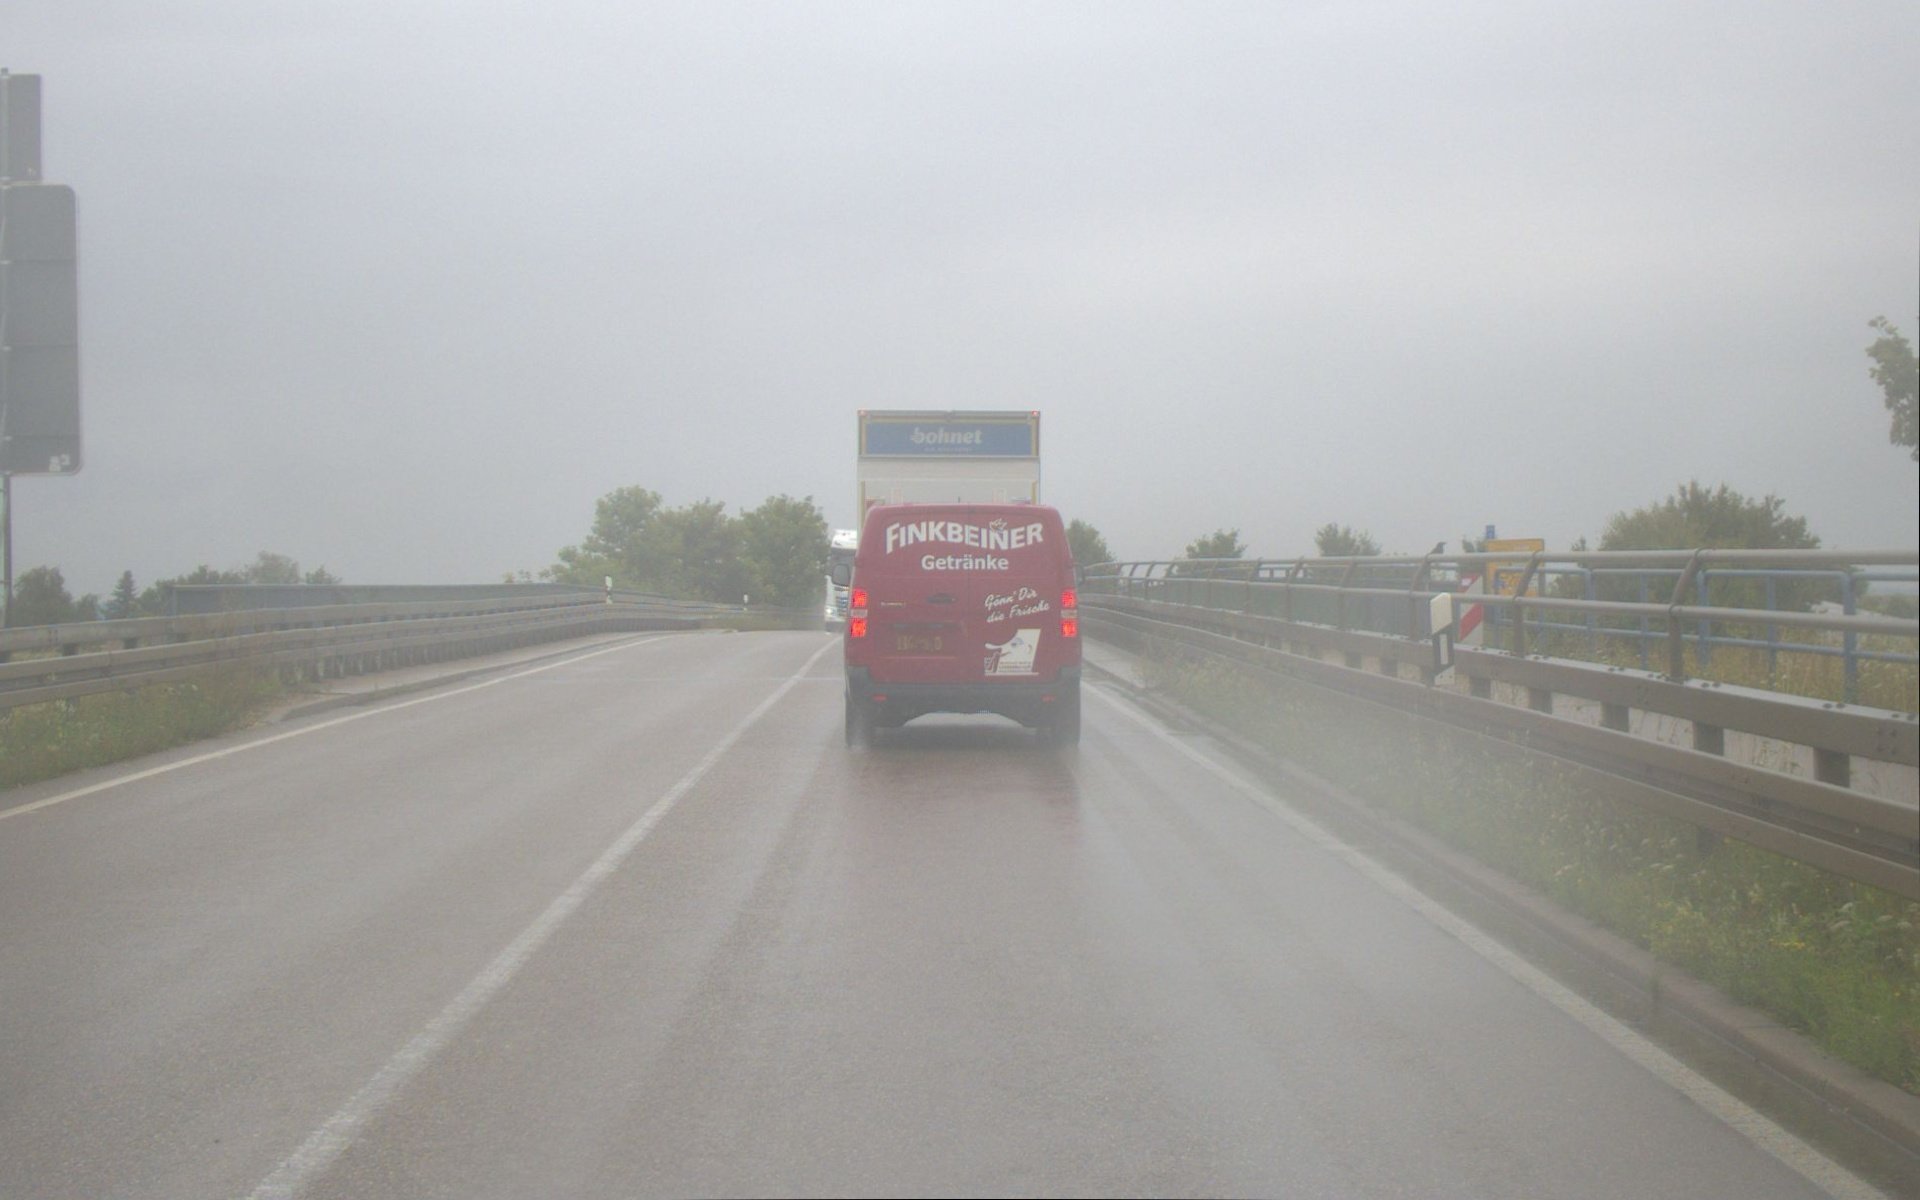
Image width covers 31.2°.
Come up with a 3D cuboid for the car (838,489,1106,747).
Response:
[{"bbox_3d":[0.044,0.095,28.015,1.993,1.919,4.144,1,1,-1],"label":"car"}]

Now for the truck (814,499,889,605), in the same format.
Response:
[{"bbox_3d":[-4.195,-1.839,133.608,2.817,3.957,8.764,0,0,-1],"label":"truck"}]

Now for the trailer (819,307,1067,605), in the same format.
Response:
[{"bbox_3d":[-0.167,-1.954,51.181,3.201,3.908,8.739,3,0,1],"label":"trailer"}]
